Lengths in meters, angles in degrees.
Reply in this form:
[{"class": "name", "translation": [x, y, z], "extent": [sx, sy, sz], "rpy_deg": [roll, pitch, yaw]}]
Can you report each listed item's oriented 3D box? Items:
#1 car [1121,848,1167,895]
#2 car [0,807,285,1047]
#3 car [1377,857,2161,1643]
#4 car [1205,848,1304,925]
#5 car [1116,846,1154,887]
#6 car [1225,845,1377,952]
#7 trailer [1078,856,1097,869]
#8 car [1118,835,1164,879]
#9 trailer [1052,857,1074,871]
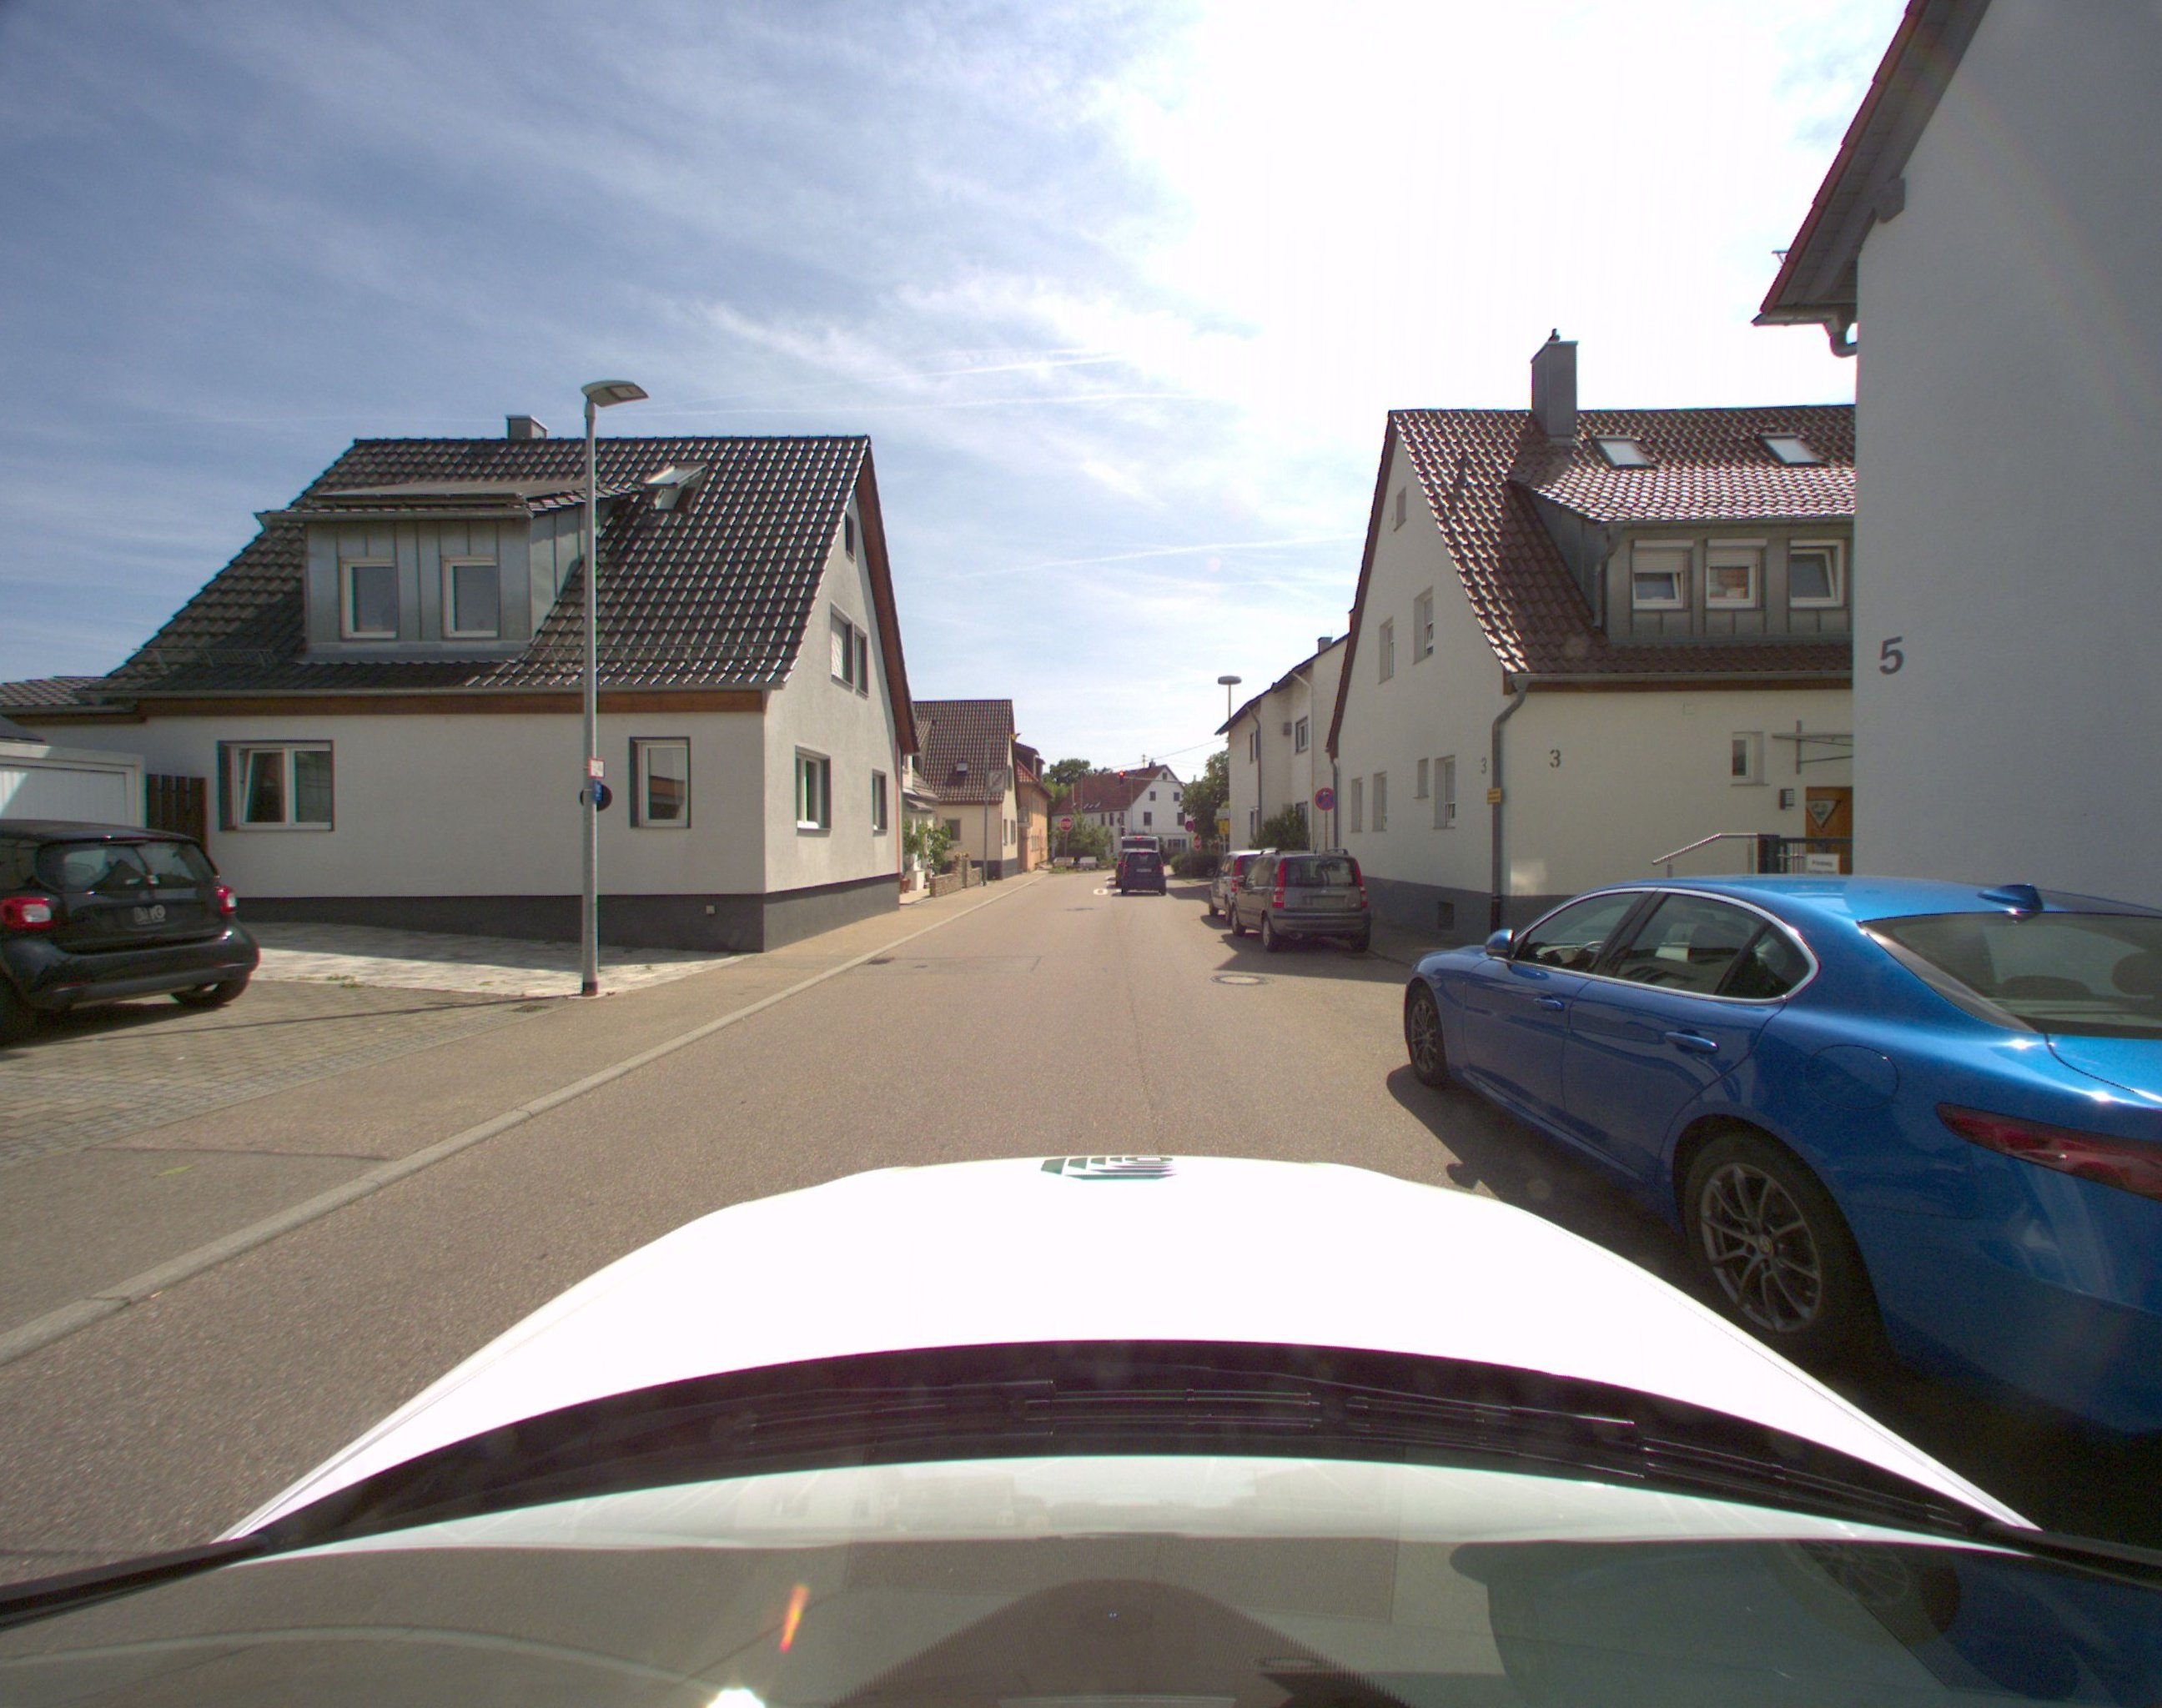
[{"class": "car", "translation": [2.251, 0.575, 28.866], "extent": [1.508, 1.567, 3.188], "rpy_deg": [1, 0, 5]}, {"class": "car", "translation": [-8.724, 0.435, 6.418], "extent": [3.100, 1.577, 1.714], "rpy_deg": [3, 0, 0]}, {"class": "car", "translation": [2.984, 0.748, 3.779], "extent": [1.756, 1.424, 4.595], "rpy_deg": [0, 0, 3]}, {"class": "car", "translation": [3.689, 0.639, 17.810], "extent": [1.493, 1.513, 3.362], "rpy_deg": [0, 0, 0]}, {"class": "car", "translation": [2.278, 0.498, 33.950], "extent": [1.508, 1.624, 3.188], "rpy_deg": [-1, 0, 5]}, {"class": "car", "translation": [3.509, 0.638, 13.555], "extent": [1.562, 1.545, 3.448], "rpy_deg": [0, 0, -1]}, {"class": "trailer", "translation": [0.476, 0.614, 58.528], "extent": [1.305, 0.970, 0.934], "rpy_deg": [0, 0, 3]}, {"class": "car", "translation": [3.216, 0.141, 42.915], "extent": [2.117, 2.158, 4.746], "rpy_deg": [0, 0, 7]}, {"class": "trailer", "translation": [-1.276, 0.724, 58.642], "extent": [1.495, 0.927, 1.013], "rpy_deg": [2, 0, 3]}]
